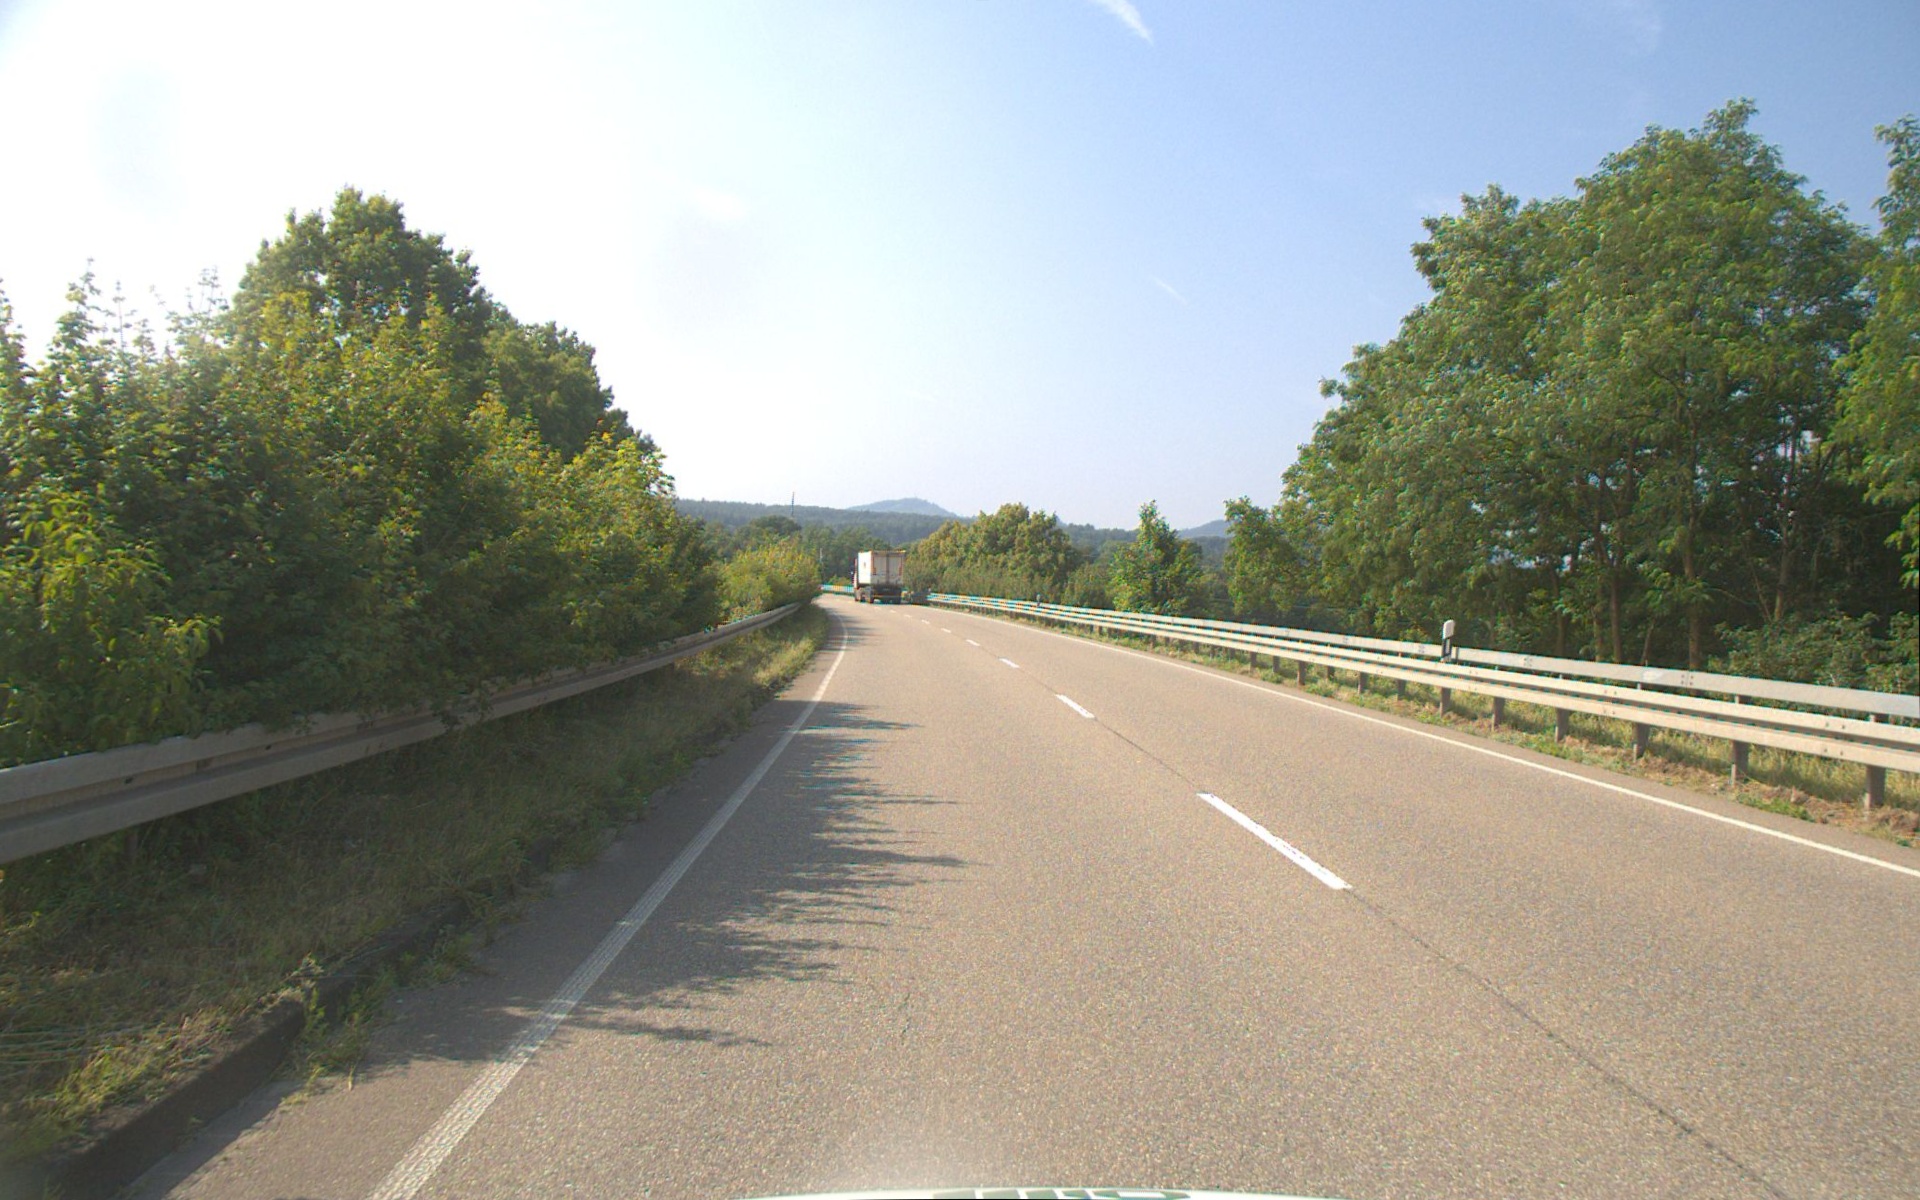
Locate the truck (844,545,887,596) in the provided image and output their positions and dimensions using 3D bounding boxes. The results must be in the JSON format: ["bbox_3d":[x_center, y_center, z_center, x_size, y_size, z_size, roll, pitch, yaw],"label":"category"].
[{"bbox_3d":[-7.605,-2.366,132.448,2.611,3.964,5.633,1,1,-11],"label":"truck"}]

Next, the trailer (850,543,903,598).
[{"bbox_3d":[-6.440,-2.264,126.469,2.632,3.975,9.646,1,1,-11],"label":"trailer"}]
